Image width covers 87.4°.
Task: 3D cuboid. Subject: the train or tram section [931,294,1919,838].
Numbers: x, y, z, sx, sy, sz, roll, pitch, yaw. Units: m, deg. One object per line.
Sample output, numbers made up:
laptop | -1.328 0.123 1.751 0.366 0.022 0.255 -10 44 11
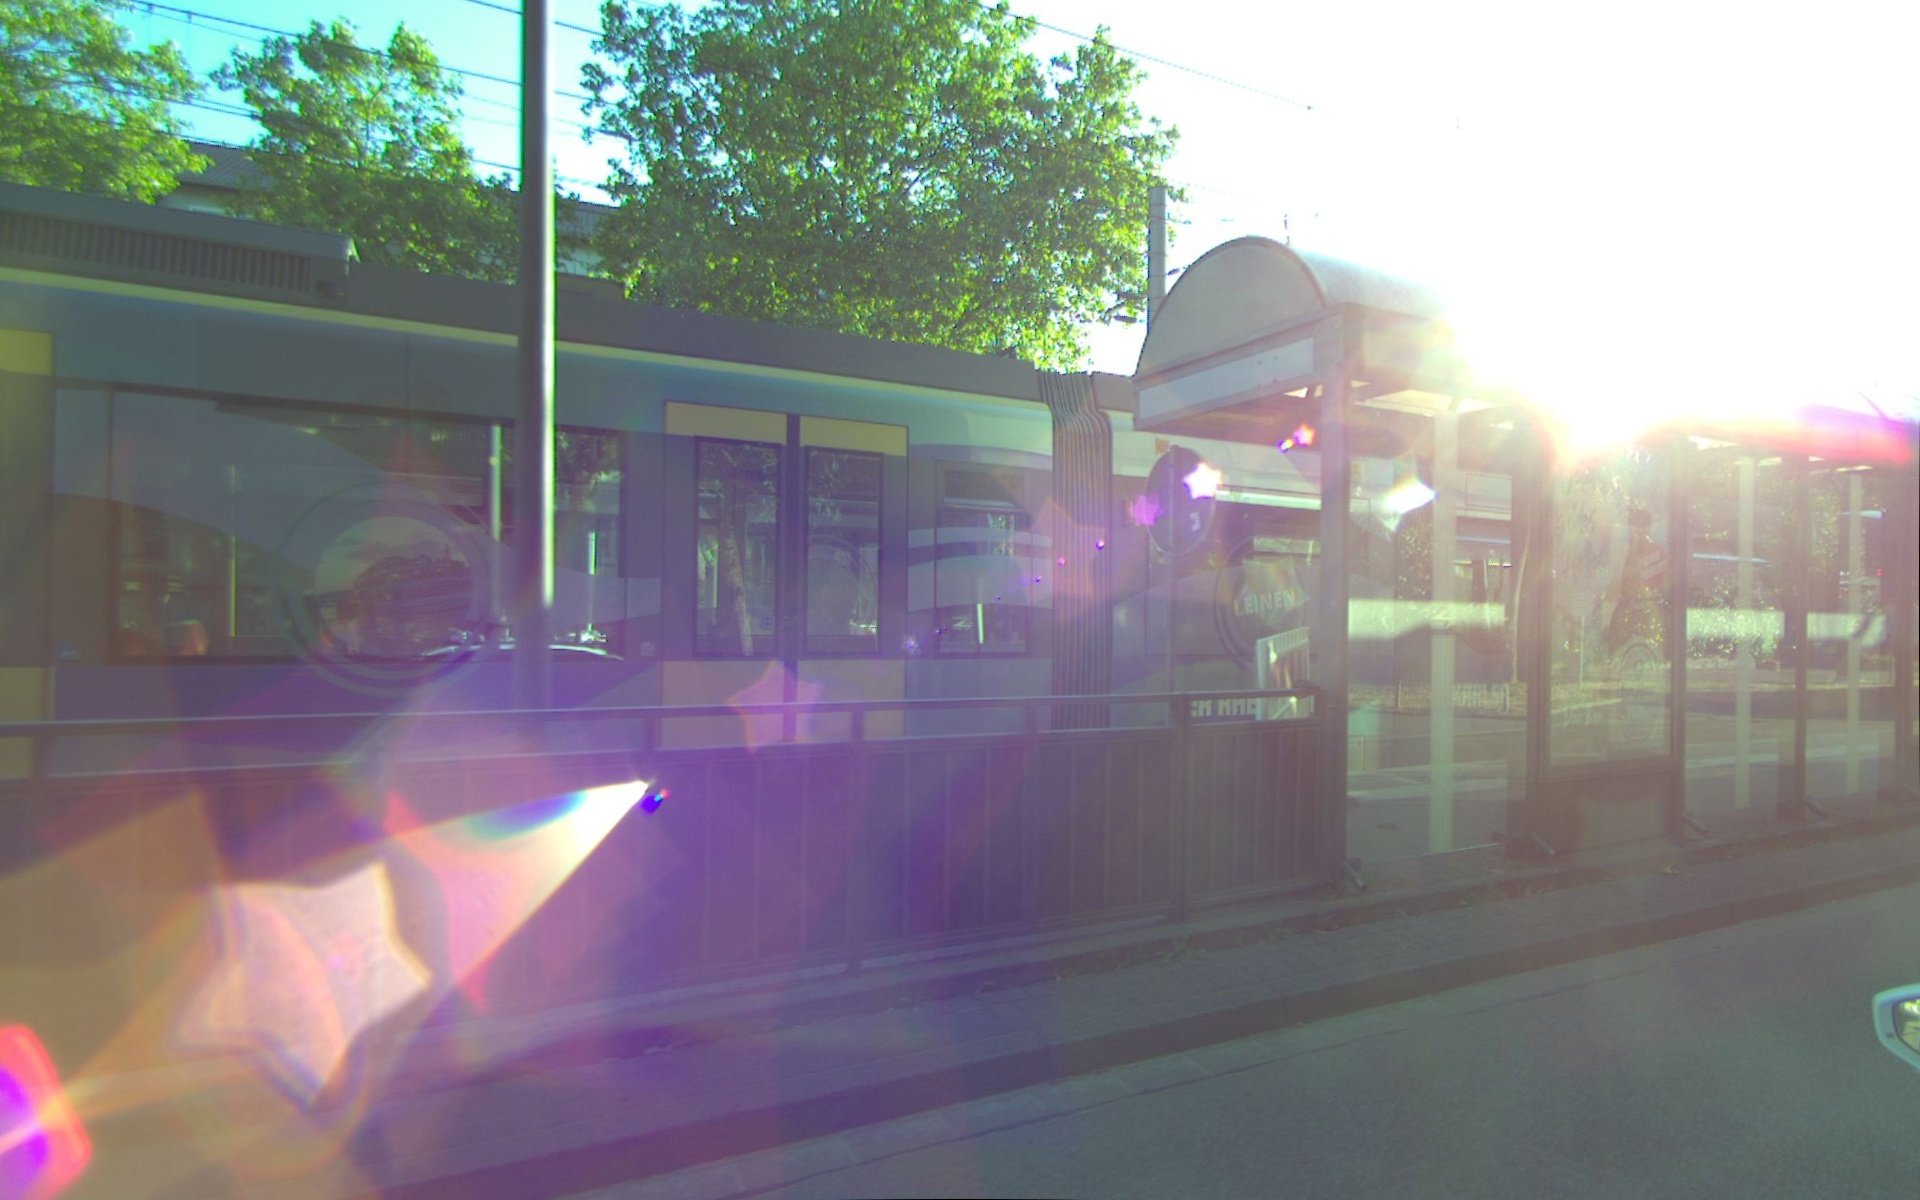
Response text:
train or tram section | 5.970 -0.094 10.732 12.619 3.596 2.719 1 -1 -27

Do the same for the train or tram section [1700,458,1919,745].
train or tram section | 17.260 0.155 16.492 13.160 3.566 2.631 1 -1 -27

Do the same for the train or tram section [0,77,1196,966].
train or tram section | -4.920 -0.312 5.097 13.222 3.580 2.840 1 -1 -27
